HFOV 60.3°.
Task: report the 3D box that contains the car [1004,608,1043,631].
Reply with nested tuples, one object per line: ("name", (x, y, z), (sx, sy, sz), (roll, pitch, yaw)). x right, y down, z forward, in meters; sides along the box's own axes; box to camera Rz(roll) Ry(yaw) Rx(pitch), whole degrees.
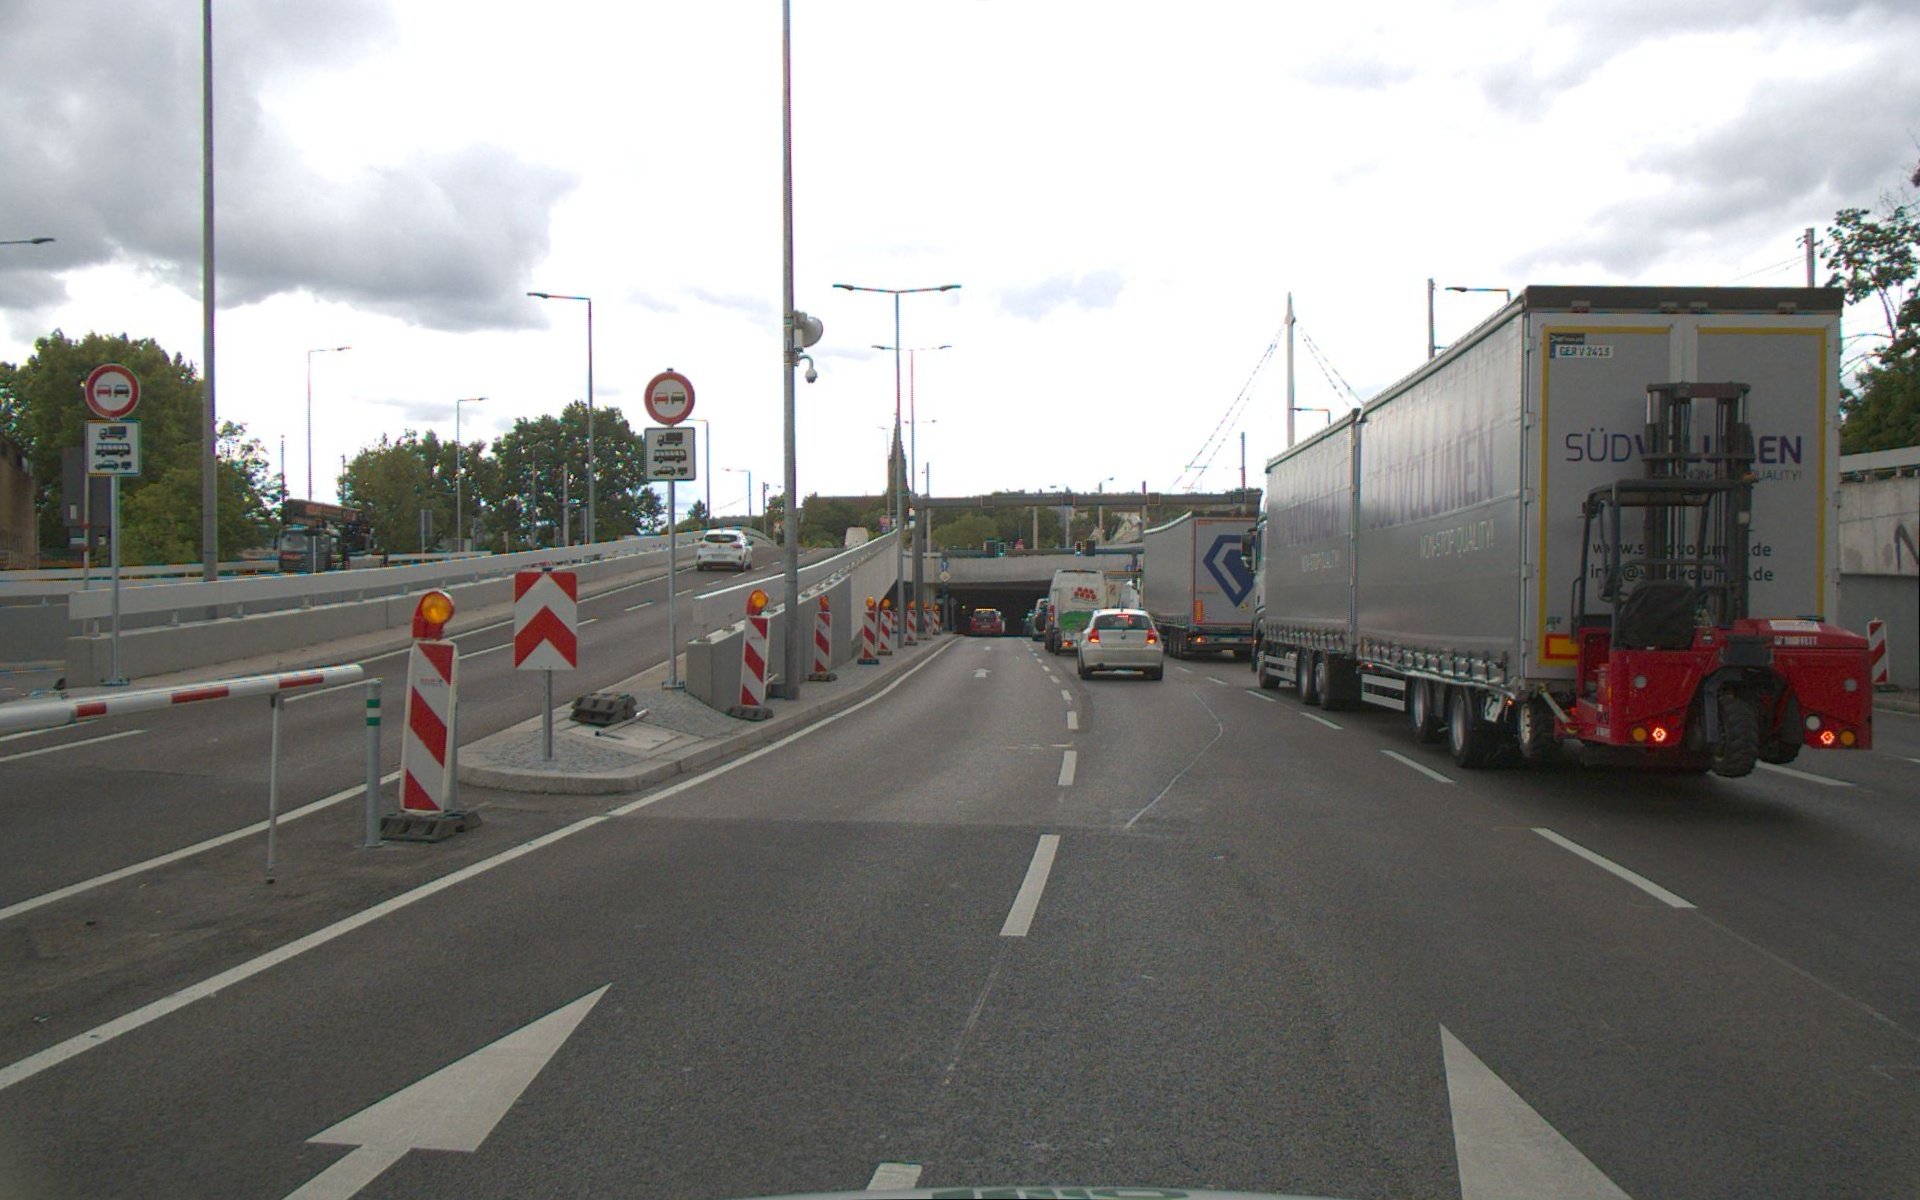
("car", (4.084, 1.261, 107.039), (1.955, 1.411, 3.995), (1, 0, -6))

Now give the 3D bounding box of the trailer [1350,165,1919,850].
("trailer", (6.496, -0.537, 15.639), (3.646, 4.214, 10.988), (1, 0, 4))

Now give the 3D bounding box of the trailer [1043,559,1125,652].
("trailer", (3.861, 0.201, 52.324), (2.060, 2.685, 4.809), (3, -1, 0))

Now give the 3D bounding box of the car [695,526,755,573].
("car", (-8.420, -1.790, 59.549), (1.709, 1.457, 3.773), (3, -1, -2))

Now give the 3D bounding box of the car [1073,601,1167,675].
("car", (3.350, 0.777, 35.313), (1.681, 1.422, 4.348), (2, -1, 2))

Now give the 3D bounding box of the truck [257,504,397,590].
("truck", (-28.053, -2.405, 73.876), (2.678, 3.448, 10.615), (2, 2, -3))

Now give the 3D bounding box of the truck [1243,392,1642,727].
("truck", (7.099, -0.497, 26.612), (3.647, 4.214, 10.987), (1, 0, 3))

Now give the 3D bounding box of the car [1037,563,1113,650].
("car", (3.837, 0.259, 56.190), (2.016, 2.674, 5.941), (3, -1, 0))

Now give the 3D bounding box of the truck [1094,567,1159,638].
("truck", (8.019, 0.176, 80.363), (2.594, 3.241, 7.427), (-1, -1, 2))

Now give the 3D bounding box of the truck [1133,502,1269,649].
("truck", (8.204, -0.777, 57.374), (3.726, 4.712, 7.443), (1, 0, 1))

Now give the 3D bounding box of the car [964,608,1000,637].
("car", (1.182, 1.267, 90.865), (1.628, 1.514, 3.562), (0, -2, -5))

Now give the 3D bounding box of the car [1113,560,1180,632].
("car", (7.897, -0.159, 70.571), (2.032, 2.821, 7.326), (2, 0, 1))

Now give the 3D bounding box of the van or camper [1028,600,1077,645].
("van or camper", (4.182, 1.074, 75.399), (1.952, 1.878, 5.507), (1, -2, 0))

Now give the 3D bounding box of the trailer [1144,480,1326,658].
("trailer", (8.048, -0.806, 50.372), (3.726, 4.712, 12.115), (1, 0, 1))

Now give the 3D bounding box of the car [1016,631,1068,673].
("car", (3.396, 2.144, 69.132), (1.649, 1.572, 3.689), (2, 0, -5))
